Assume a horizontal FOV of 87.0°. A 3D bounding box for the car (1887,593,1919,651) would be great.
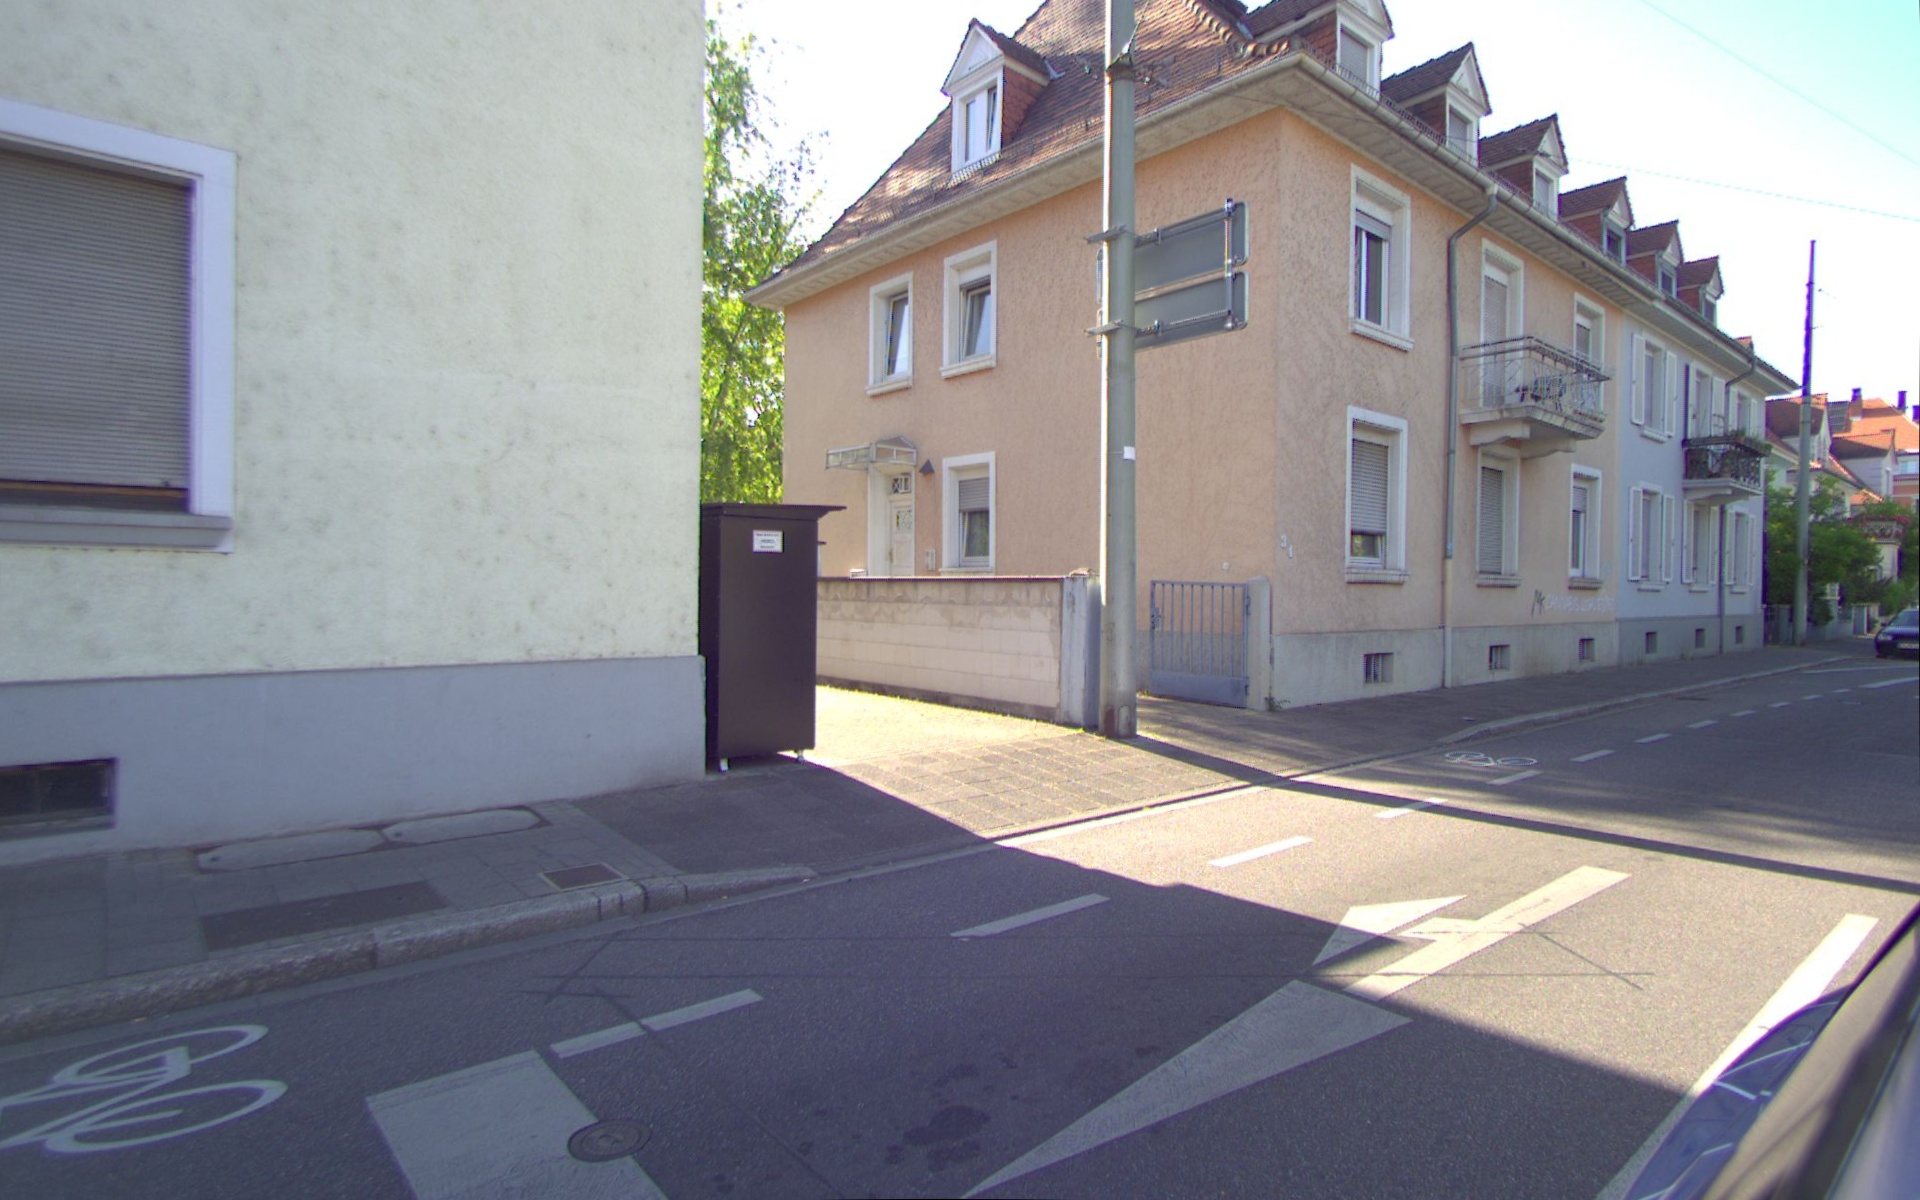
[{"bbox_3d":[26.842,0.587,27.385,3.925,1.504,1.883,0,1,-37],"label":"car"}]
